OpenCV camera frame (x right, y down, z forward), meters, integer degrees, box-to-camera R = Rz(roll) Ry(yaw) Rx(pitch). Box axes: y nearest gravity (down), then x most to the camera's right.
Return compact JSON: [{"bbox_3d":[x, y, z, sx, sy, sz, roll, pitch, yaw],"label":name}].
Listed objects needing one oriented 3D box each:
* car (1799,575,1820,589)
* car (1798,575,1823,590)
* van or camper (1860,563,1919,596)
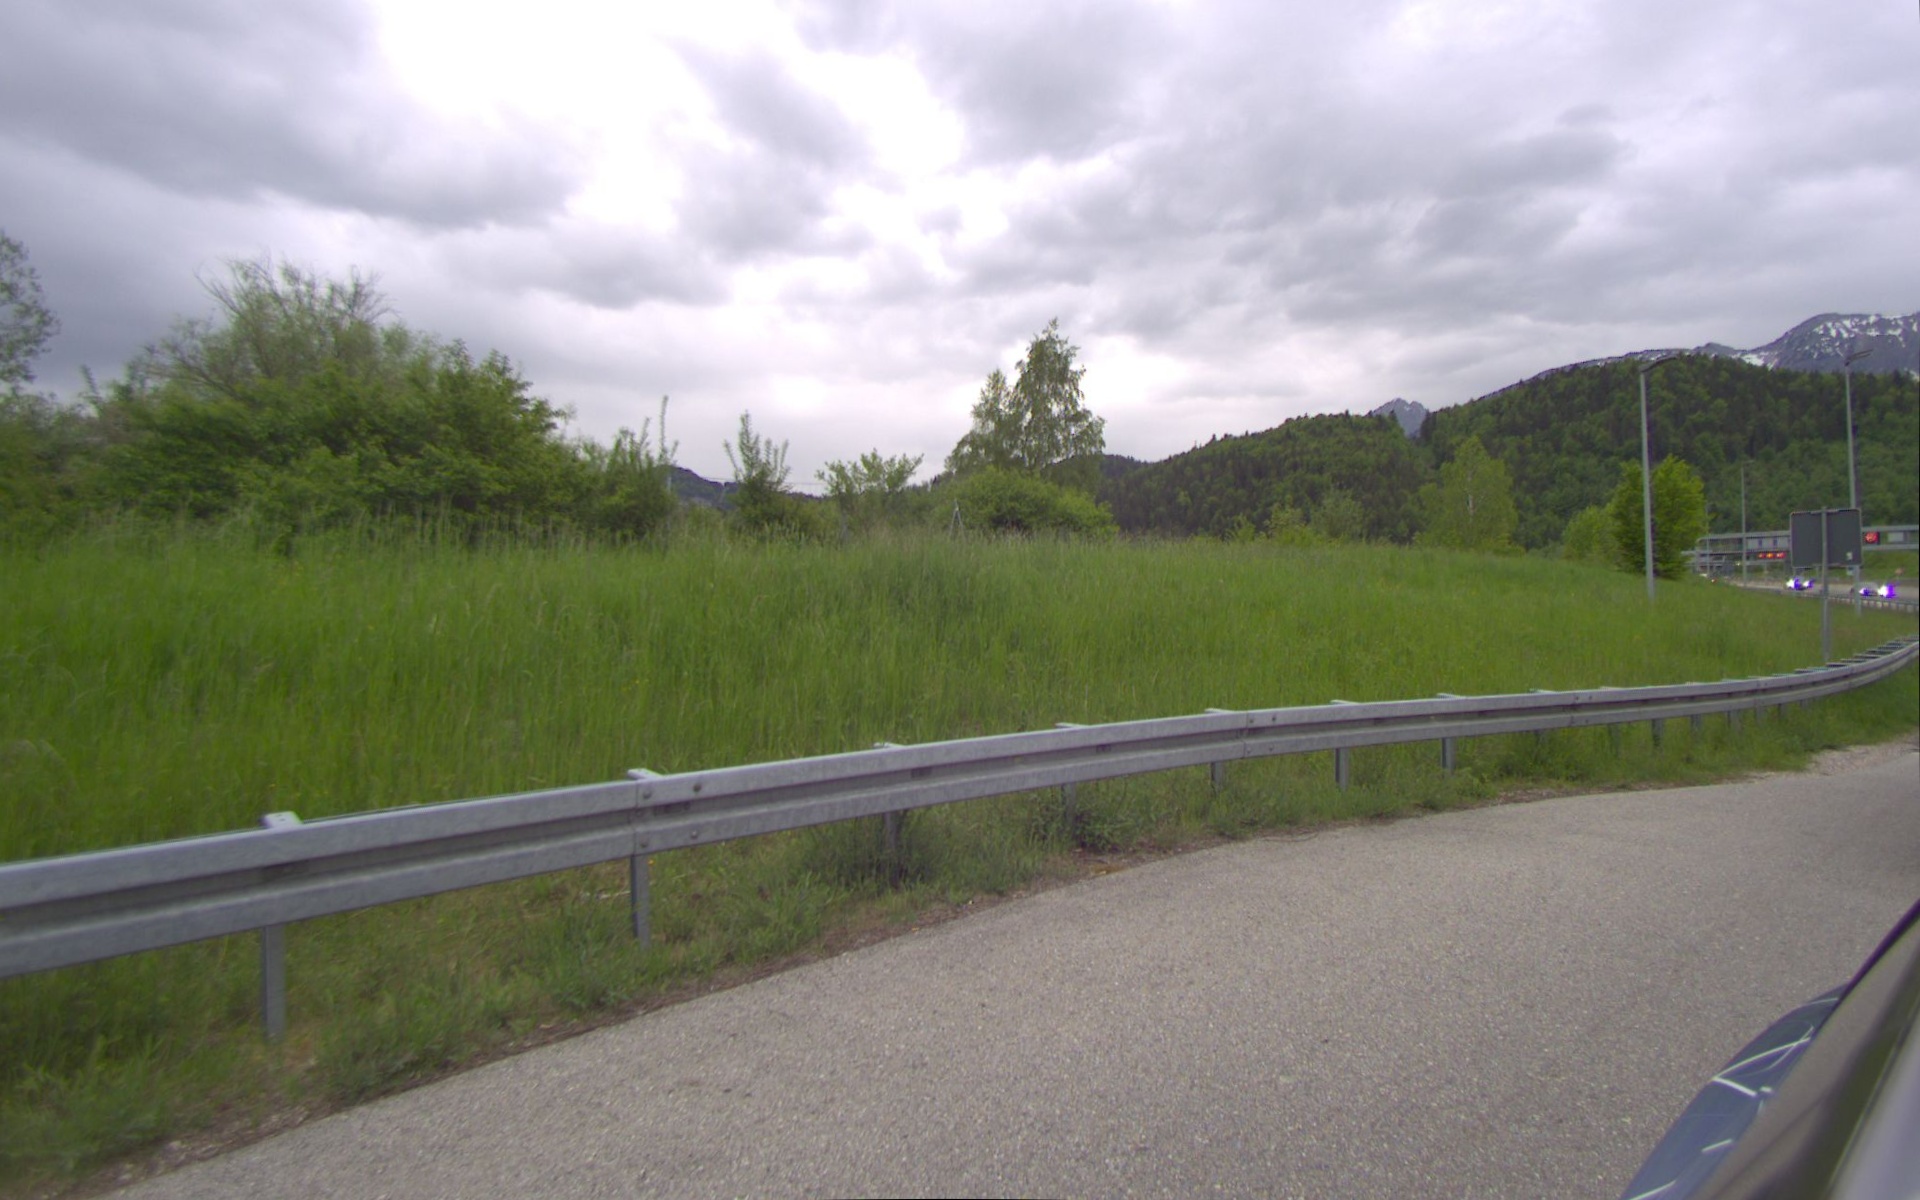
[{"bbox_3d":[105.197,-2.258,125.344,1.711,1.659,4.293,1,2,36],"label":"car"},{"bbox_3d":[104.435,-2.163,124.293,1.855,1.895,3.951,1,1,34],"label":"car"},{"bbox_3d":[79.712,-1.757,86.290,3.321,2.677,8.102,1,2,34],"label":"van or camper"}]
